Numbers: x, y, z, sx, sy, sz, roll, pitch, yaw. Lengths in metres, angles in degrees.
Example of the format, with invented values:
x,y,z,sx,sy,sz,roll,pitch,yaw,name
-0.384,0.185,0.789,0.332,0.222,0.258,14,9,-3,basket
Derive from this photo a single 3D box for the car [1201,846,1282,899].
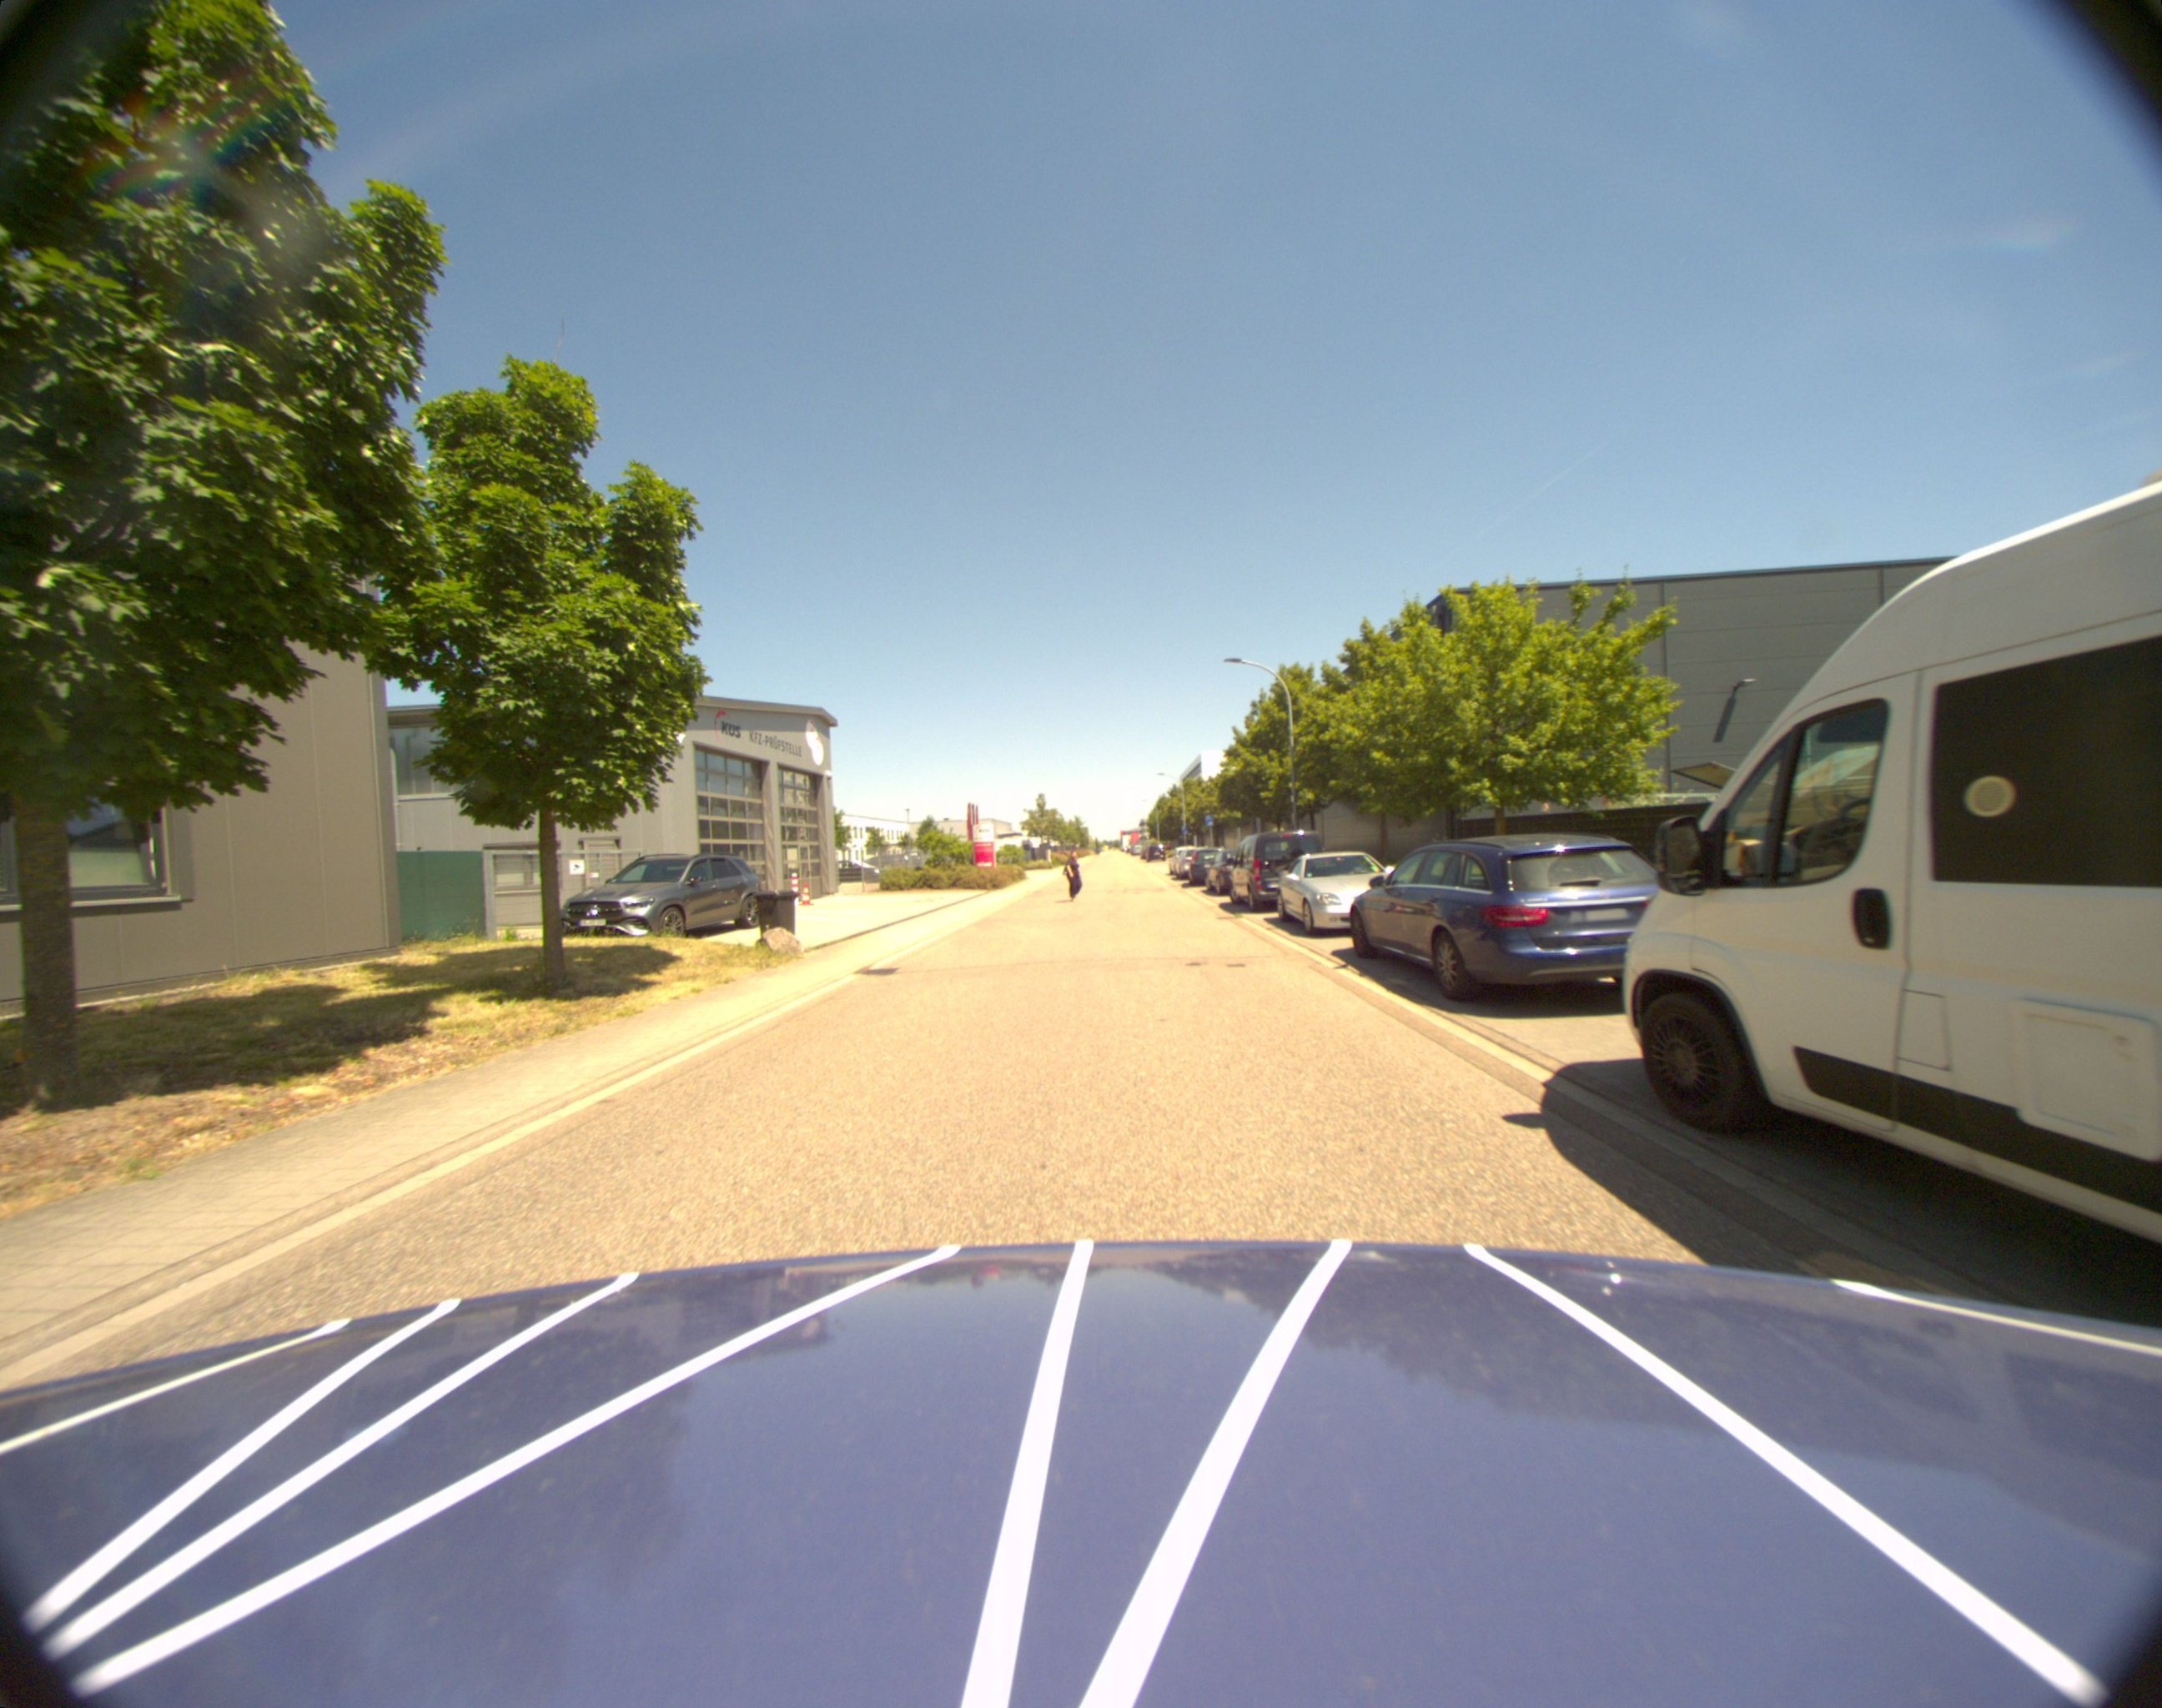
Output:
x,y,z,sx,sy,sz,roll,pitch,yaw,name
5.115,0.526,24.824,1.798,1.456,4.452,-4,1,3,car

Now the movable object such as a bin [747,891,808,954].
x,y,z,sx,sy,sz,roll,pitch,yaw,name
-5.442,1.224,13.650,0.616,1.040,0.810,-2,1,15,movable object such as a bin

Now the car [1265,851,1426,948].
x,y,z,sx,sy,sz,roll,pitch,yaw,name
4.456,0.676,13.411,1.647,1.304,4.001,-4,1,5,car

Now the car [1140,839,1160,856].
x,y,z,sx,sy,sz,roll,pitch,yaw,name
7.592,-0.740,84.140,1.798,1.701,3.831,-4,1,2,car

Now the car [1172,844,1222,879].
x,y,z,sx,sy,sz,roll,pitch,yaw,name
5.534,0.308,36.670,1.798,1.477,4.190,-4,1,2,car

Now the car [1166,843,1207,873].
x,y,z,sx,sy,sz,roll,pitch,yaw,name
5.883,0.196,42.704,1.798,1.477,3.969,-4,1,2,car

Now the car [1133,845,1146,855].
x,y,z,sx,sy,sz,roll,pitch,yaw,name
8.841,-0.657,115.142,1.798,1.319,3.831,-4,1,2,car

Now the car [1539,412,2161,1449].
x,y,z,sx,sy,sz,roll,pitch,yaw,name
3.808,0.155,1.466,2.328,2.584,6.086,-4,1,4,car

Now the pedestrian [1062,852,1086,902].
x,y,z,sx,sy,sz,roll,pitch,yaw,name
-0.234,0.712,24.215,0.681,1.559,0.534,-1,1,-9,pedestrian

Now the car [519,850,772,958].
x,y,z,sx,sy,sz,roll,pitch,yaw,name
-8.786,0.887,16.025,2.156,1.800,4.915,-1,1,5,car

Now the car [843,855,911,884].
x,y,z,sx,sy,sz,roll,pitch,yaw,name
-11.581,0.858,43.297,3.359,1.361,1.792,-3,1,-2,car

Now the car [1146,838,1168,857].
x,y,z,sx,sy,sz,roll,pitch,yaw,name
7.315,-0.615,73.548,1.798,1.638,3.831,-4,1,2,car

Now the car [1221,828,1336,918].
x,y,z,sx,sy,sz,roll,pitch,yaw,name
4.632,0.390,18.392,1.835,1.800,4.083,-4,1,4,car

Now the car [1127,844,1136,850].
x,y,z,sx,sy,sz,roll,pitch,yaw,name
11.815,-1.651,177.284,1.798,1.319,3.831,-4,1,2,car

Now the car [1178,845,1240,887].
x,y,z,sx,sy,sz,roll,pitch,yaw,name
5.098,0.434,30.863,1.798,1.477,4.452,-4,1,2,car

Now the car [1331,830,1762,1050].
x,y,z,sx,sy,sz,roll,pitch,yaw,name
4.231,0.618,7.990,1.835,1.532,4.625,-4,1,4,car
